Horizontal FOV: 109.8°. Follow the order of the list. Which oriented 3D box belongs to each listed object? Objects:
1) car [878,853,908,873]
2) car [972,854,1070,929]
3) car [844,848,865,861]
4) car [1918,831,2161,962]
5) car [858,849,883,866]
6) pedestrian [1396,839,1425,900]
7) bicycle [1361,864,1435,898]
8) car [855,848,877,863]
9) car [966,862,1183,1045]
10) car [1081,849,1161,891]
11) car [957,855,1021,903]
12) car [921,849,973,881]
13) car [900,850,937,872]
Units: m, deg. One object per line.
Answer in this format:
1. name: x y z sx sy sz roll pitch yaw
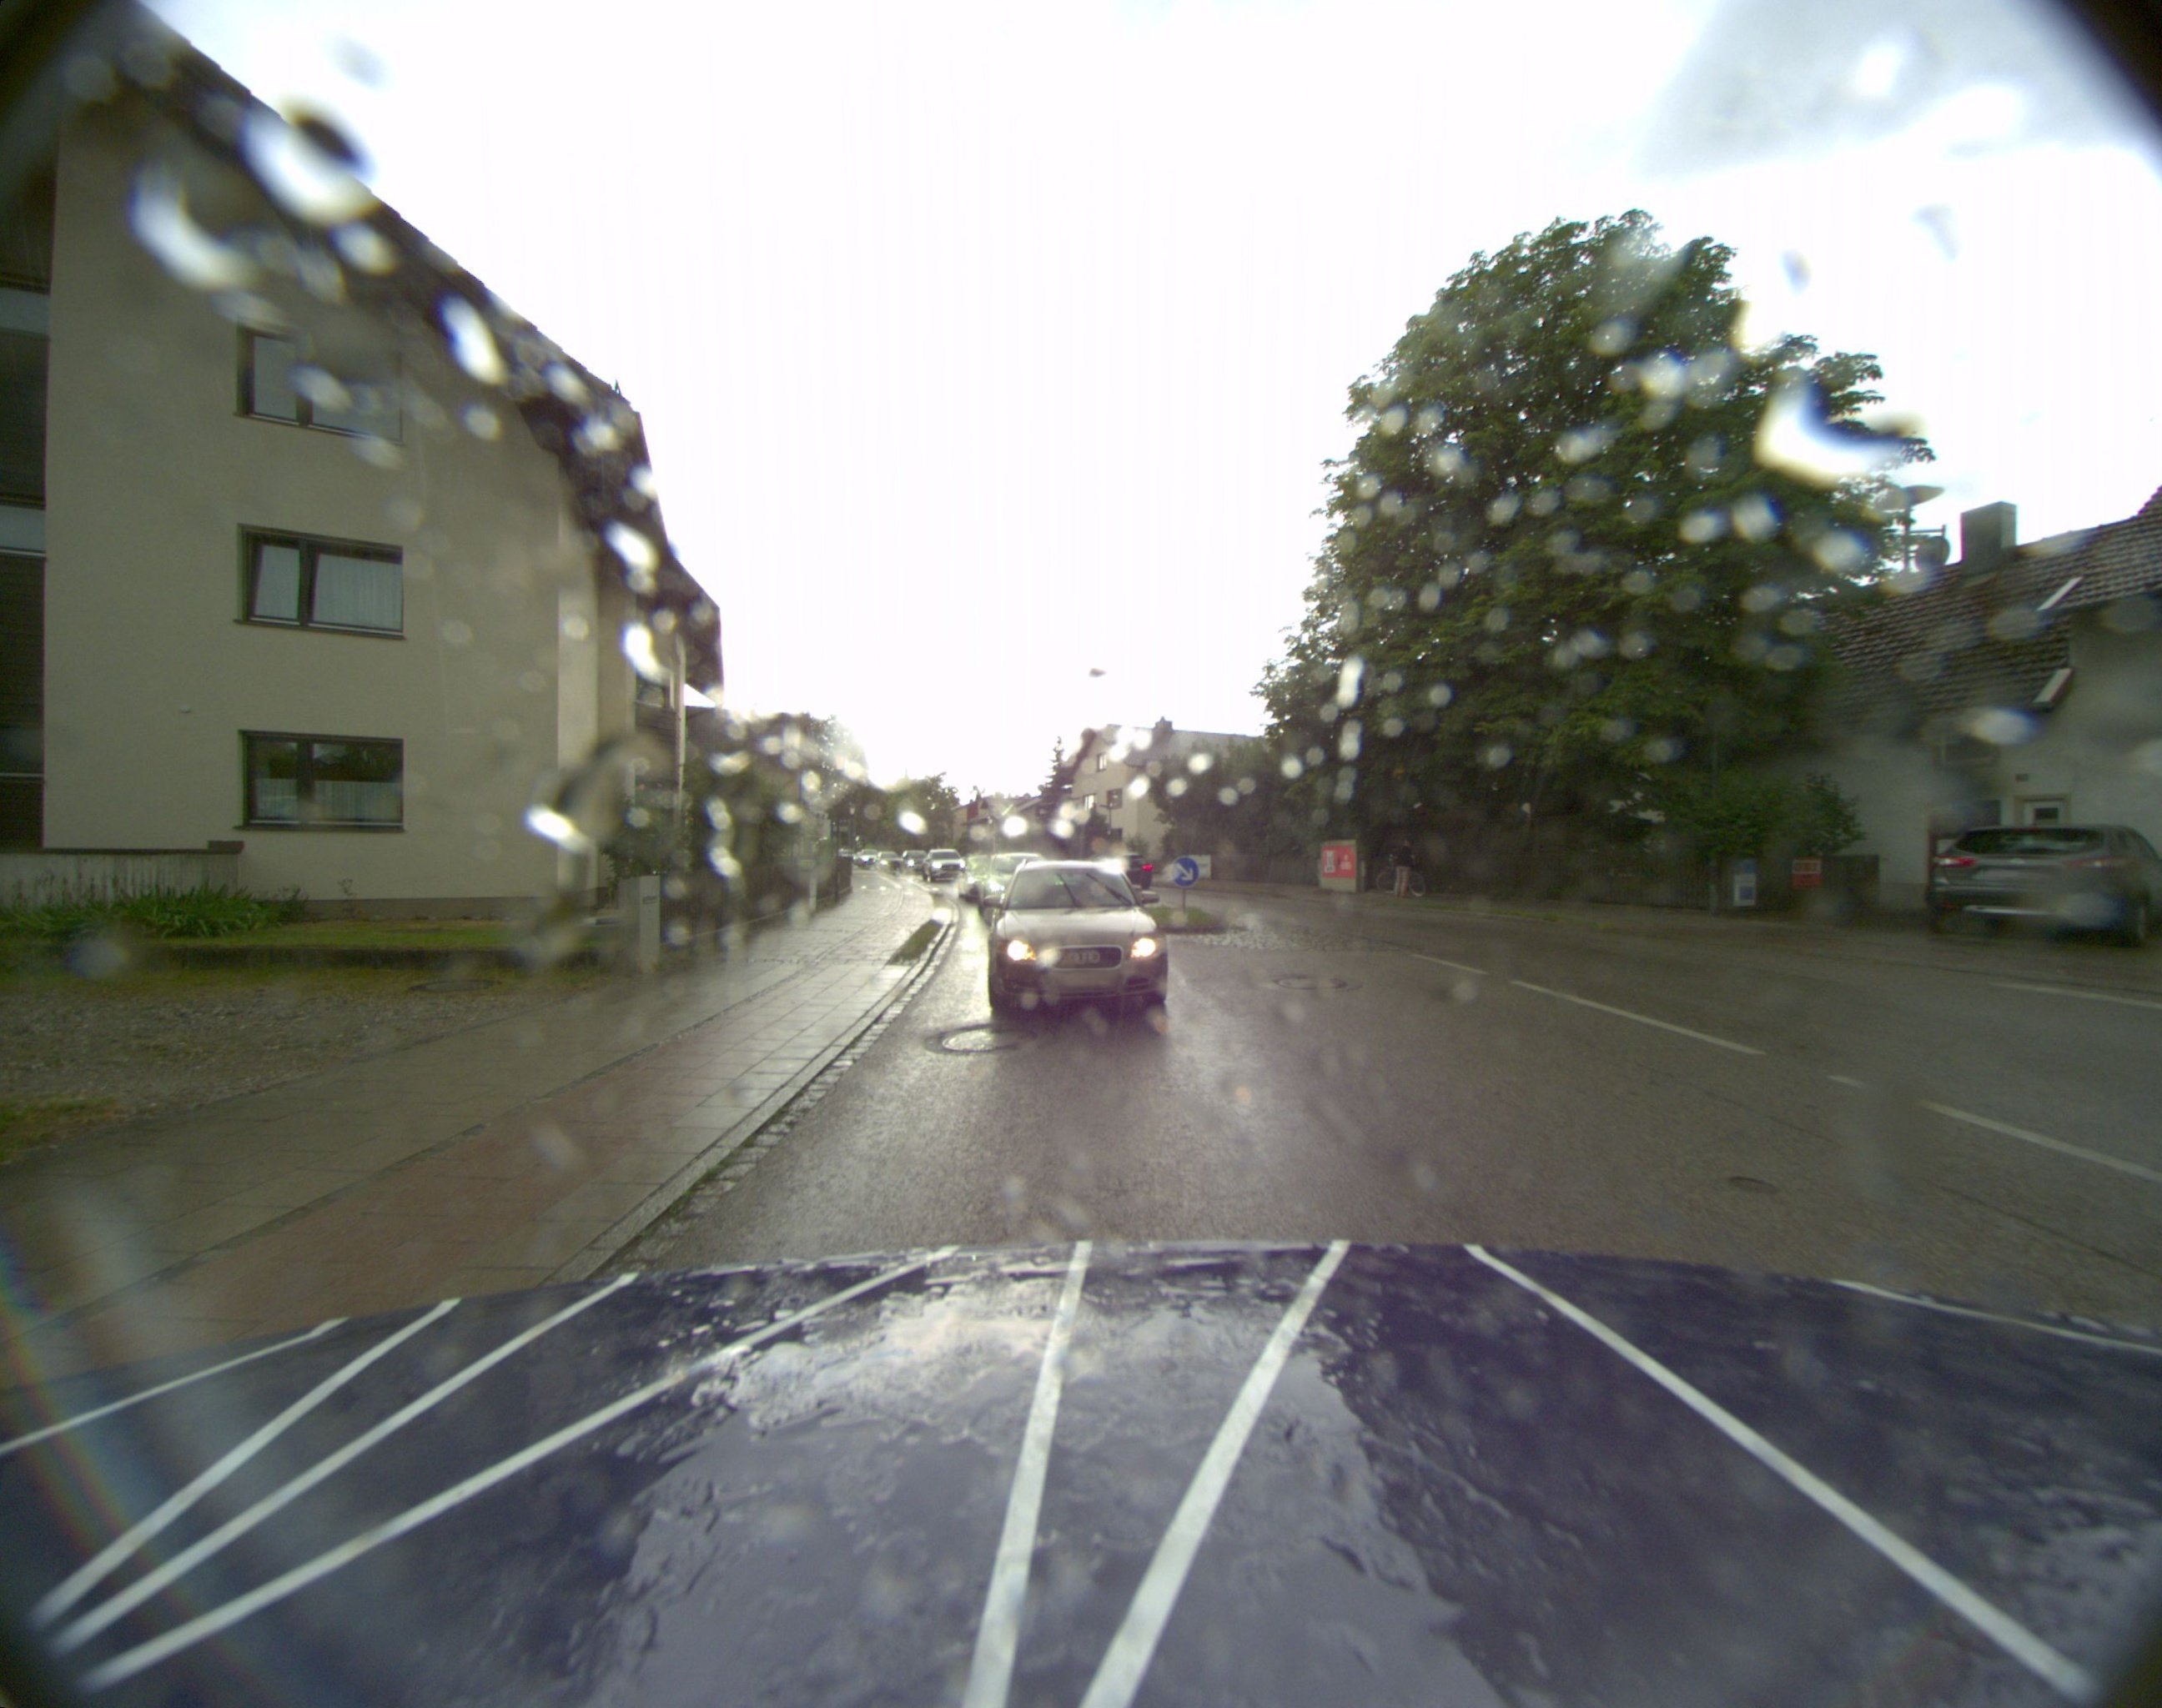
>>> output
1. car: -15.499 0.744 62.617 1.797 1.539 4.273 -2 1 -22
2. car: -1.641 0.785 18.708 1.795 1.470 5.380 -2 1 -11
3. car: -28.469 0.020 95.405 1.797 1.539 4.272 -3 1 -25
4. car: 13.906 0.529 10.868 4.289 1.539 1.813 1 0 -31
5. car: -20.417 0.300 73.702 1.797 1.539 4.273 -2 1 -22
6. pedestrian: 8.837 0.402 20.370 0.652 1.619 0.480 0 1 28
7. bicycle: 8.932 0.748 21.476 0.665 0.897 1.869 -2 1 -33
8. car: -23.693 0.199 83.609 1.797 1.539 4.273 -2 1 -22
9. car: -0.189 0.861 8.582 1.794 1.387 4.279 -2 1 -4
10. car: 1.468 0.577 29.647 1.819 1.482 4.053 -1 0 -17
11. car: -3.164 0.764 25.391 1.795 1.387 4.277 -2 1 -11
12. car: -7.032 0.545 39.514 1.797 1.539 4.273 -2 1 -22
13. car: -11.370 0.486 52.912 1.797 1.365 4.273 -2 1 -22
